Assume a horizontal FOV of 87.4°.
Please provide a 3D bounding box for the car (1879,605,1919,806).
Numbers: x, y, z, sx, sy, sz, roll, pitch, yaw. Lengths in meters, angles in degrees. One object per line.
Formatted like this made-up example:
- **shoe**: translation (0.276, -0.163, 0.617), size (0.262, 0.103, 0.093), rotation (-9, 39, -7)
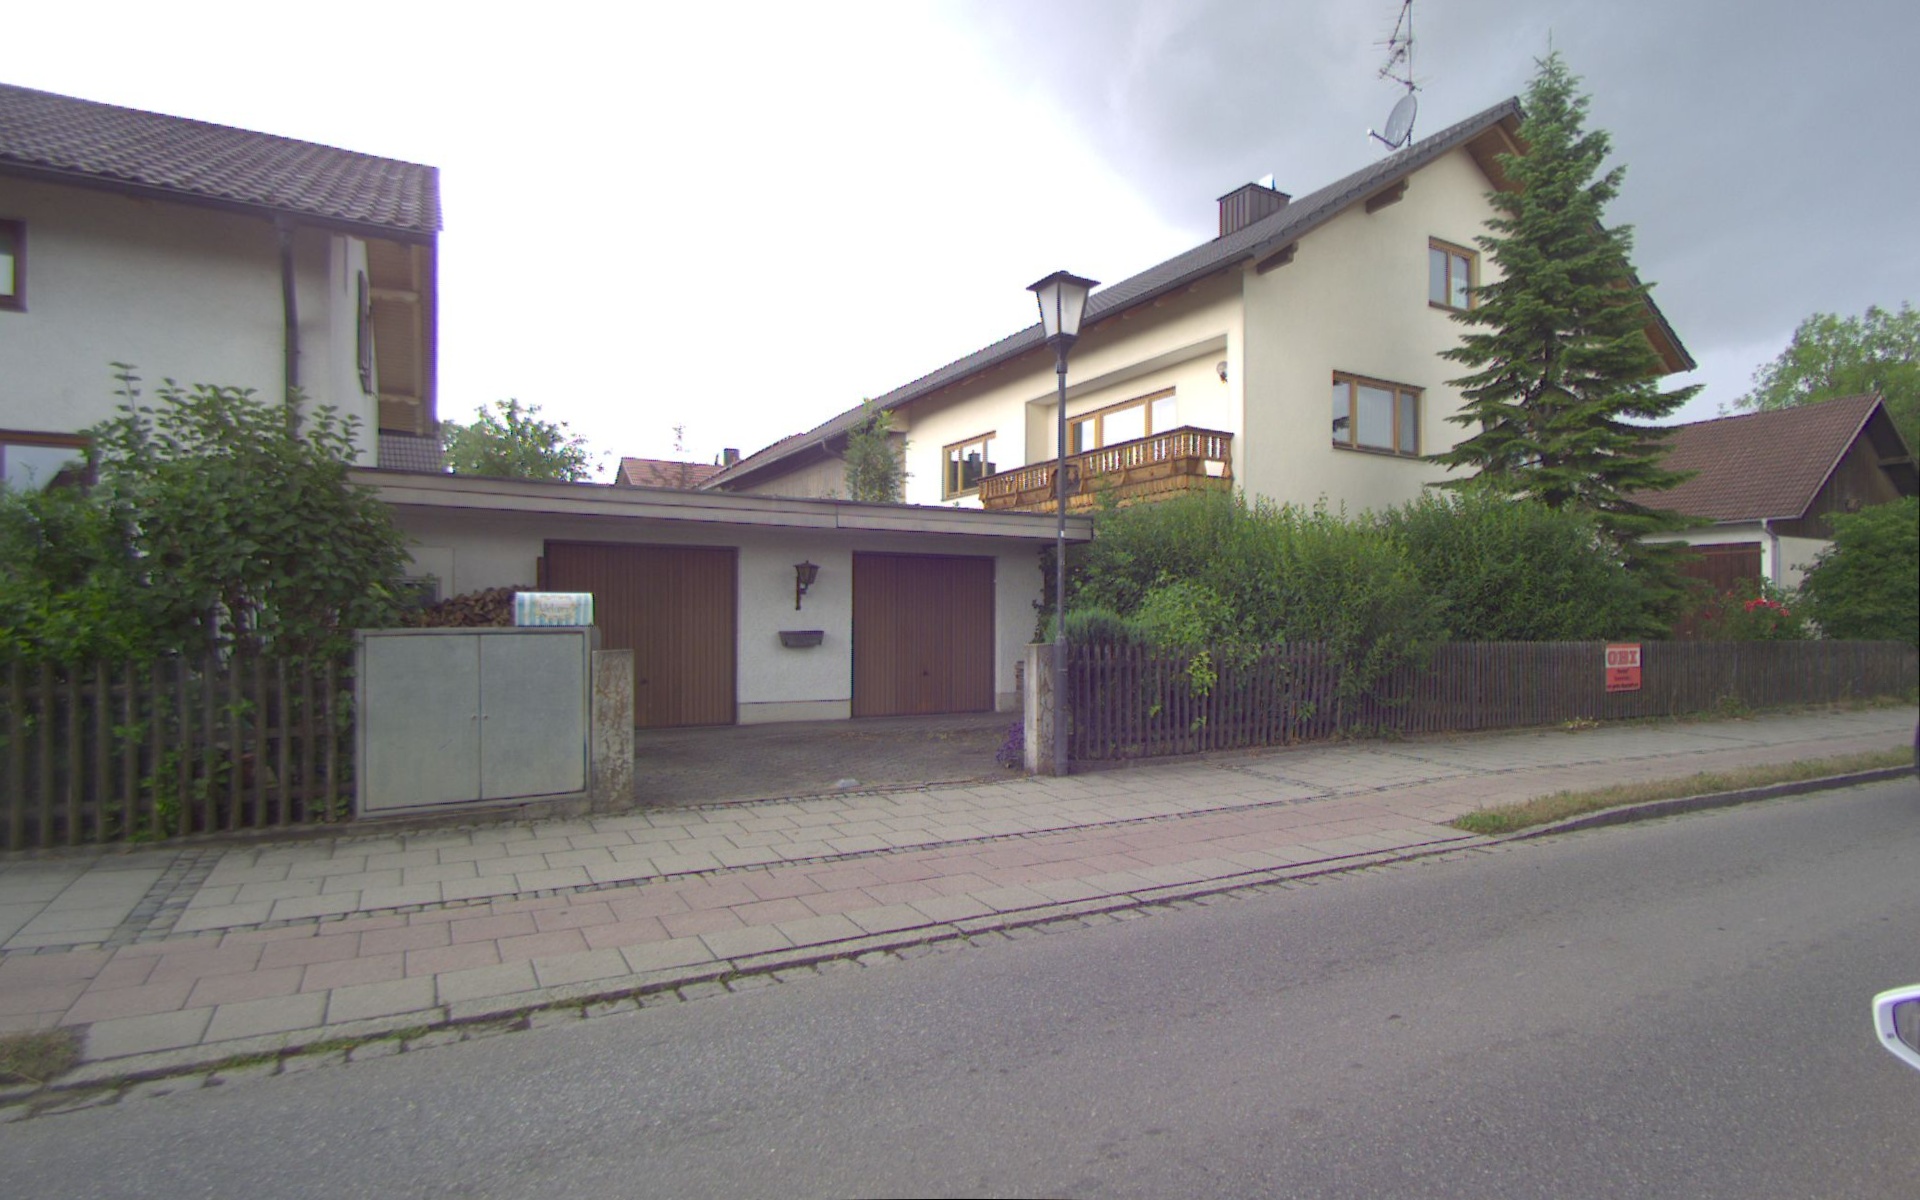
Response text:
- **car**: translation (9.859, 0.897, 8.452), size (4.260, 1.596, 1.921), rotation (1, 0, -30)
